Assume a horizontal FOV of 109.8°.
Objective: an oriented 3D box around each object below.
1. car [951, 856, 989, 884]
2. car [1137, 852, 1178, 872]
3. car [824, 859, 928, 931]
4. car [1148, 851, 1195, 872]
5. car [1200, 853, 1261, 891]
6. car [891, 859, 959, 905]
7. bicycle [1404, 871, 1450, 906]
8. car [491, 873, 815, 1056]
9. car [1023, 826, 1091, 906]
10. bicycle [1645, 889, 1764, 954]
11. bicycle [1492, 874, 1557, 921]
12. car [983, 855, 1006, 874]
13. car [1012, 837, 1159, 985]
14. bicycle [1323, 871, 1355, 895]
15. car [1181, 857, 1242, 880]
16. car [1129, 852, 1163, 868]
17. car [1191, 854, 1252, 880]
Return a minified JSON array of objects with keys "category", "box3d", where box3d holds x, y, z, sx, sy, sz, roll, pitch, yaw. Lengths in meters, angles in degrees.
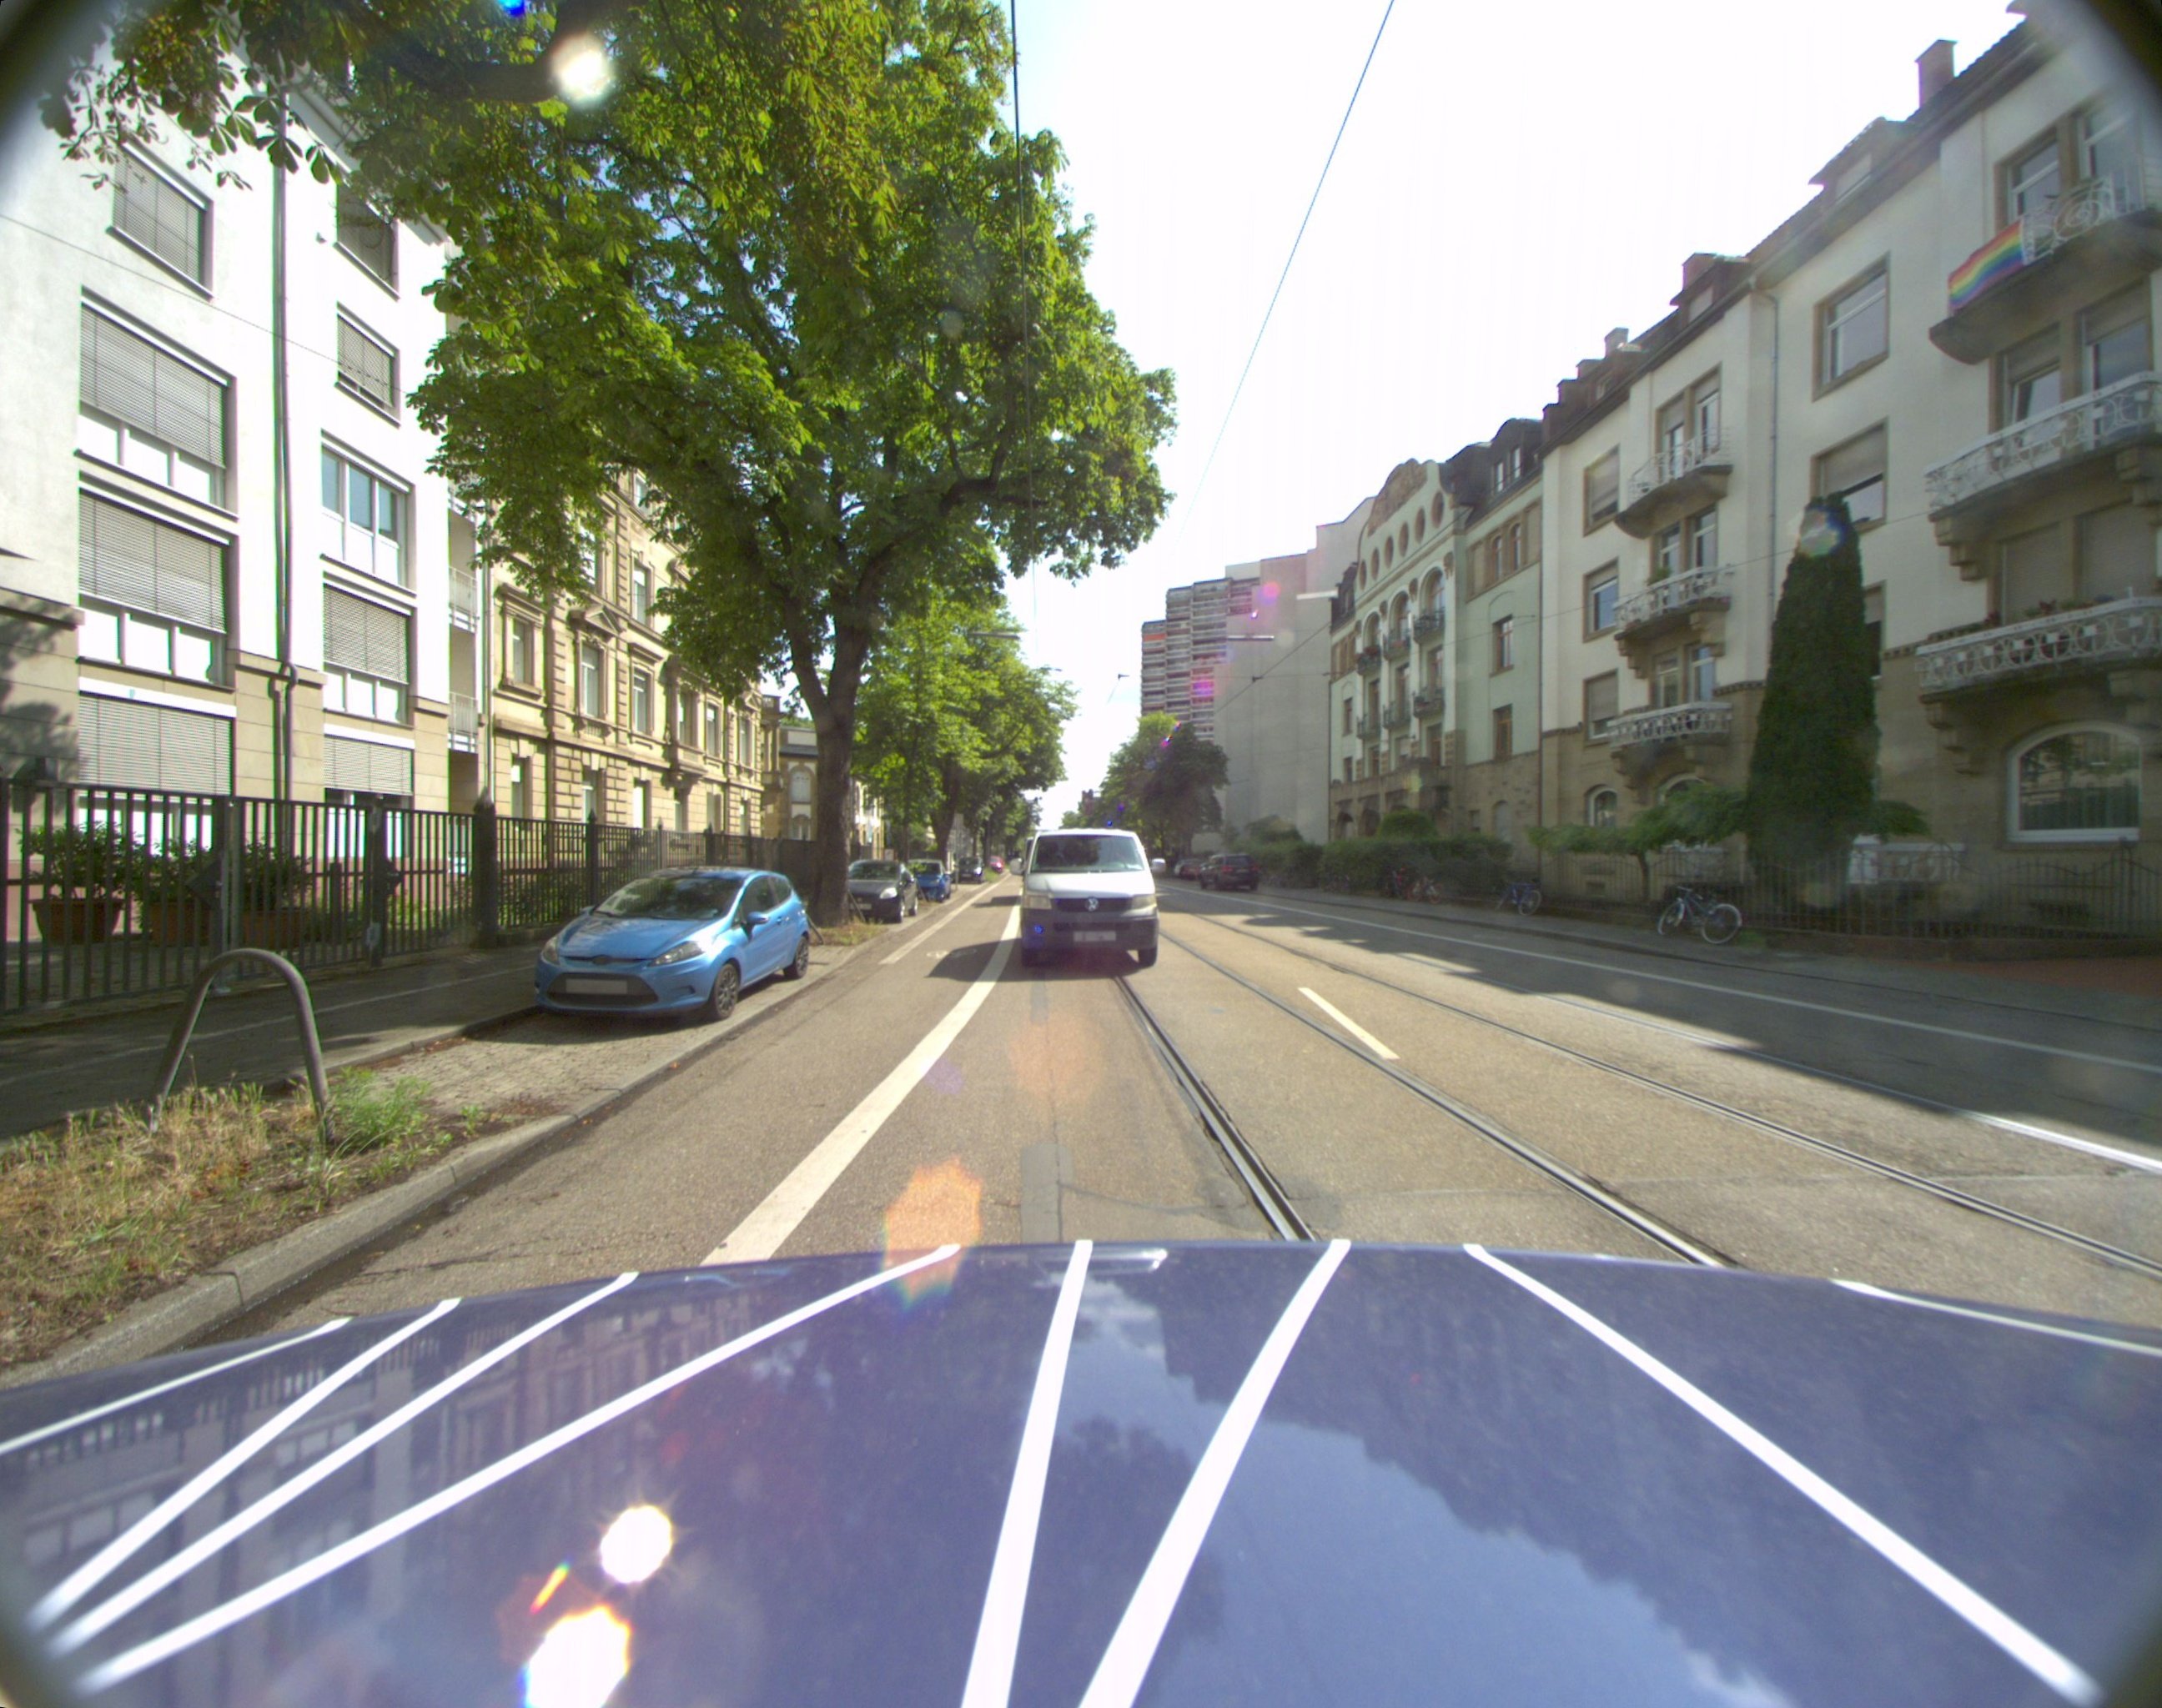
[{"category":"car","box3d":[-6.648,0.900,45.727,1.774,1.522,4.198,2,0,-3]},{"category":"car","box3d":[7.154,0.721,71.515,3.663,1.832,1.735,0,0,-3]},{"category":"car","box3d":[-4.936,0.928,18.743,1.644,1.499,3.622,2,0,-2]},{"category":"car","box3d":[8.066,0.653,68.265,3.997,1.914,1.831,0,0,-1]},{"category":"car","box3d":[7.013,0.809,36.051,1.796,1.701,4.330,0,0,-4]},{"category":"car","box3d":[-5.421,0.930,26.857,1.724,1.443,3.925,2,0,-3]},{"category":"bicycle","box3d":[10.564,1.033,23.236,0.587,0.980,1.873,0,1,1]},{"category":"car","box3d":[-4.339,1.012,8.417,1.642,1.447,3.697,2,0,-4]},{"category":"car","box3d":[-0.982,0.362,27.336,2.168,2.572,5.661,0,0,-4]},{"category":"bicycle","box3d":[11.054,1.159,13.570,0.524,0.901,2.067,0,2,4]},{"category":"bicycle","box3d":[10.899,1.048,18.749,0.539,1.024,1.873,0,1,1]},{"category":"car","box3d":[-7.789,0.901,68.565,1.774,1.563,4.198,2,0,-3]},{"category":"car","box3d":[0.078,0.712,12.042,1.831,1.856,4.845,-1,0,0]},{"category":"bicycle","box3d":[9.952,1.116,29.365,0.587,0.792,1.873,-2,1,1]},{"category":"car","box3d":[8.919,0.963,52.038,3.890,1.527,1.634,0,0,-1]},{"category":"car","box3d":[6.934,0.644,81.249,3.542,1.733,1.635,0,0,-1]},{"category":"car","box3d":[9.035,0.804,49.110,3.631,1.630,1.610,0,1,-3]}]
